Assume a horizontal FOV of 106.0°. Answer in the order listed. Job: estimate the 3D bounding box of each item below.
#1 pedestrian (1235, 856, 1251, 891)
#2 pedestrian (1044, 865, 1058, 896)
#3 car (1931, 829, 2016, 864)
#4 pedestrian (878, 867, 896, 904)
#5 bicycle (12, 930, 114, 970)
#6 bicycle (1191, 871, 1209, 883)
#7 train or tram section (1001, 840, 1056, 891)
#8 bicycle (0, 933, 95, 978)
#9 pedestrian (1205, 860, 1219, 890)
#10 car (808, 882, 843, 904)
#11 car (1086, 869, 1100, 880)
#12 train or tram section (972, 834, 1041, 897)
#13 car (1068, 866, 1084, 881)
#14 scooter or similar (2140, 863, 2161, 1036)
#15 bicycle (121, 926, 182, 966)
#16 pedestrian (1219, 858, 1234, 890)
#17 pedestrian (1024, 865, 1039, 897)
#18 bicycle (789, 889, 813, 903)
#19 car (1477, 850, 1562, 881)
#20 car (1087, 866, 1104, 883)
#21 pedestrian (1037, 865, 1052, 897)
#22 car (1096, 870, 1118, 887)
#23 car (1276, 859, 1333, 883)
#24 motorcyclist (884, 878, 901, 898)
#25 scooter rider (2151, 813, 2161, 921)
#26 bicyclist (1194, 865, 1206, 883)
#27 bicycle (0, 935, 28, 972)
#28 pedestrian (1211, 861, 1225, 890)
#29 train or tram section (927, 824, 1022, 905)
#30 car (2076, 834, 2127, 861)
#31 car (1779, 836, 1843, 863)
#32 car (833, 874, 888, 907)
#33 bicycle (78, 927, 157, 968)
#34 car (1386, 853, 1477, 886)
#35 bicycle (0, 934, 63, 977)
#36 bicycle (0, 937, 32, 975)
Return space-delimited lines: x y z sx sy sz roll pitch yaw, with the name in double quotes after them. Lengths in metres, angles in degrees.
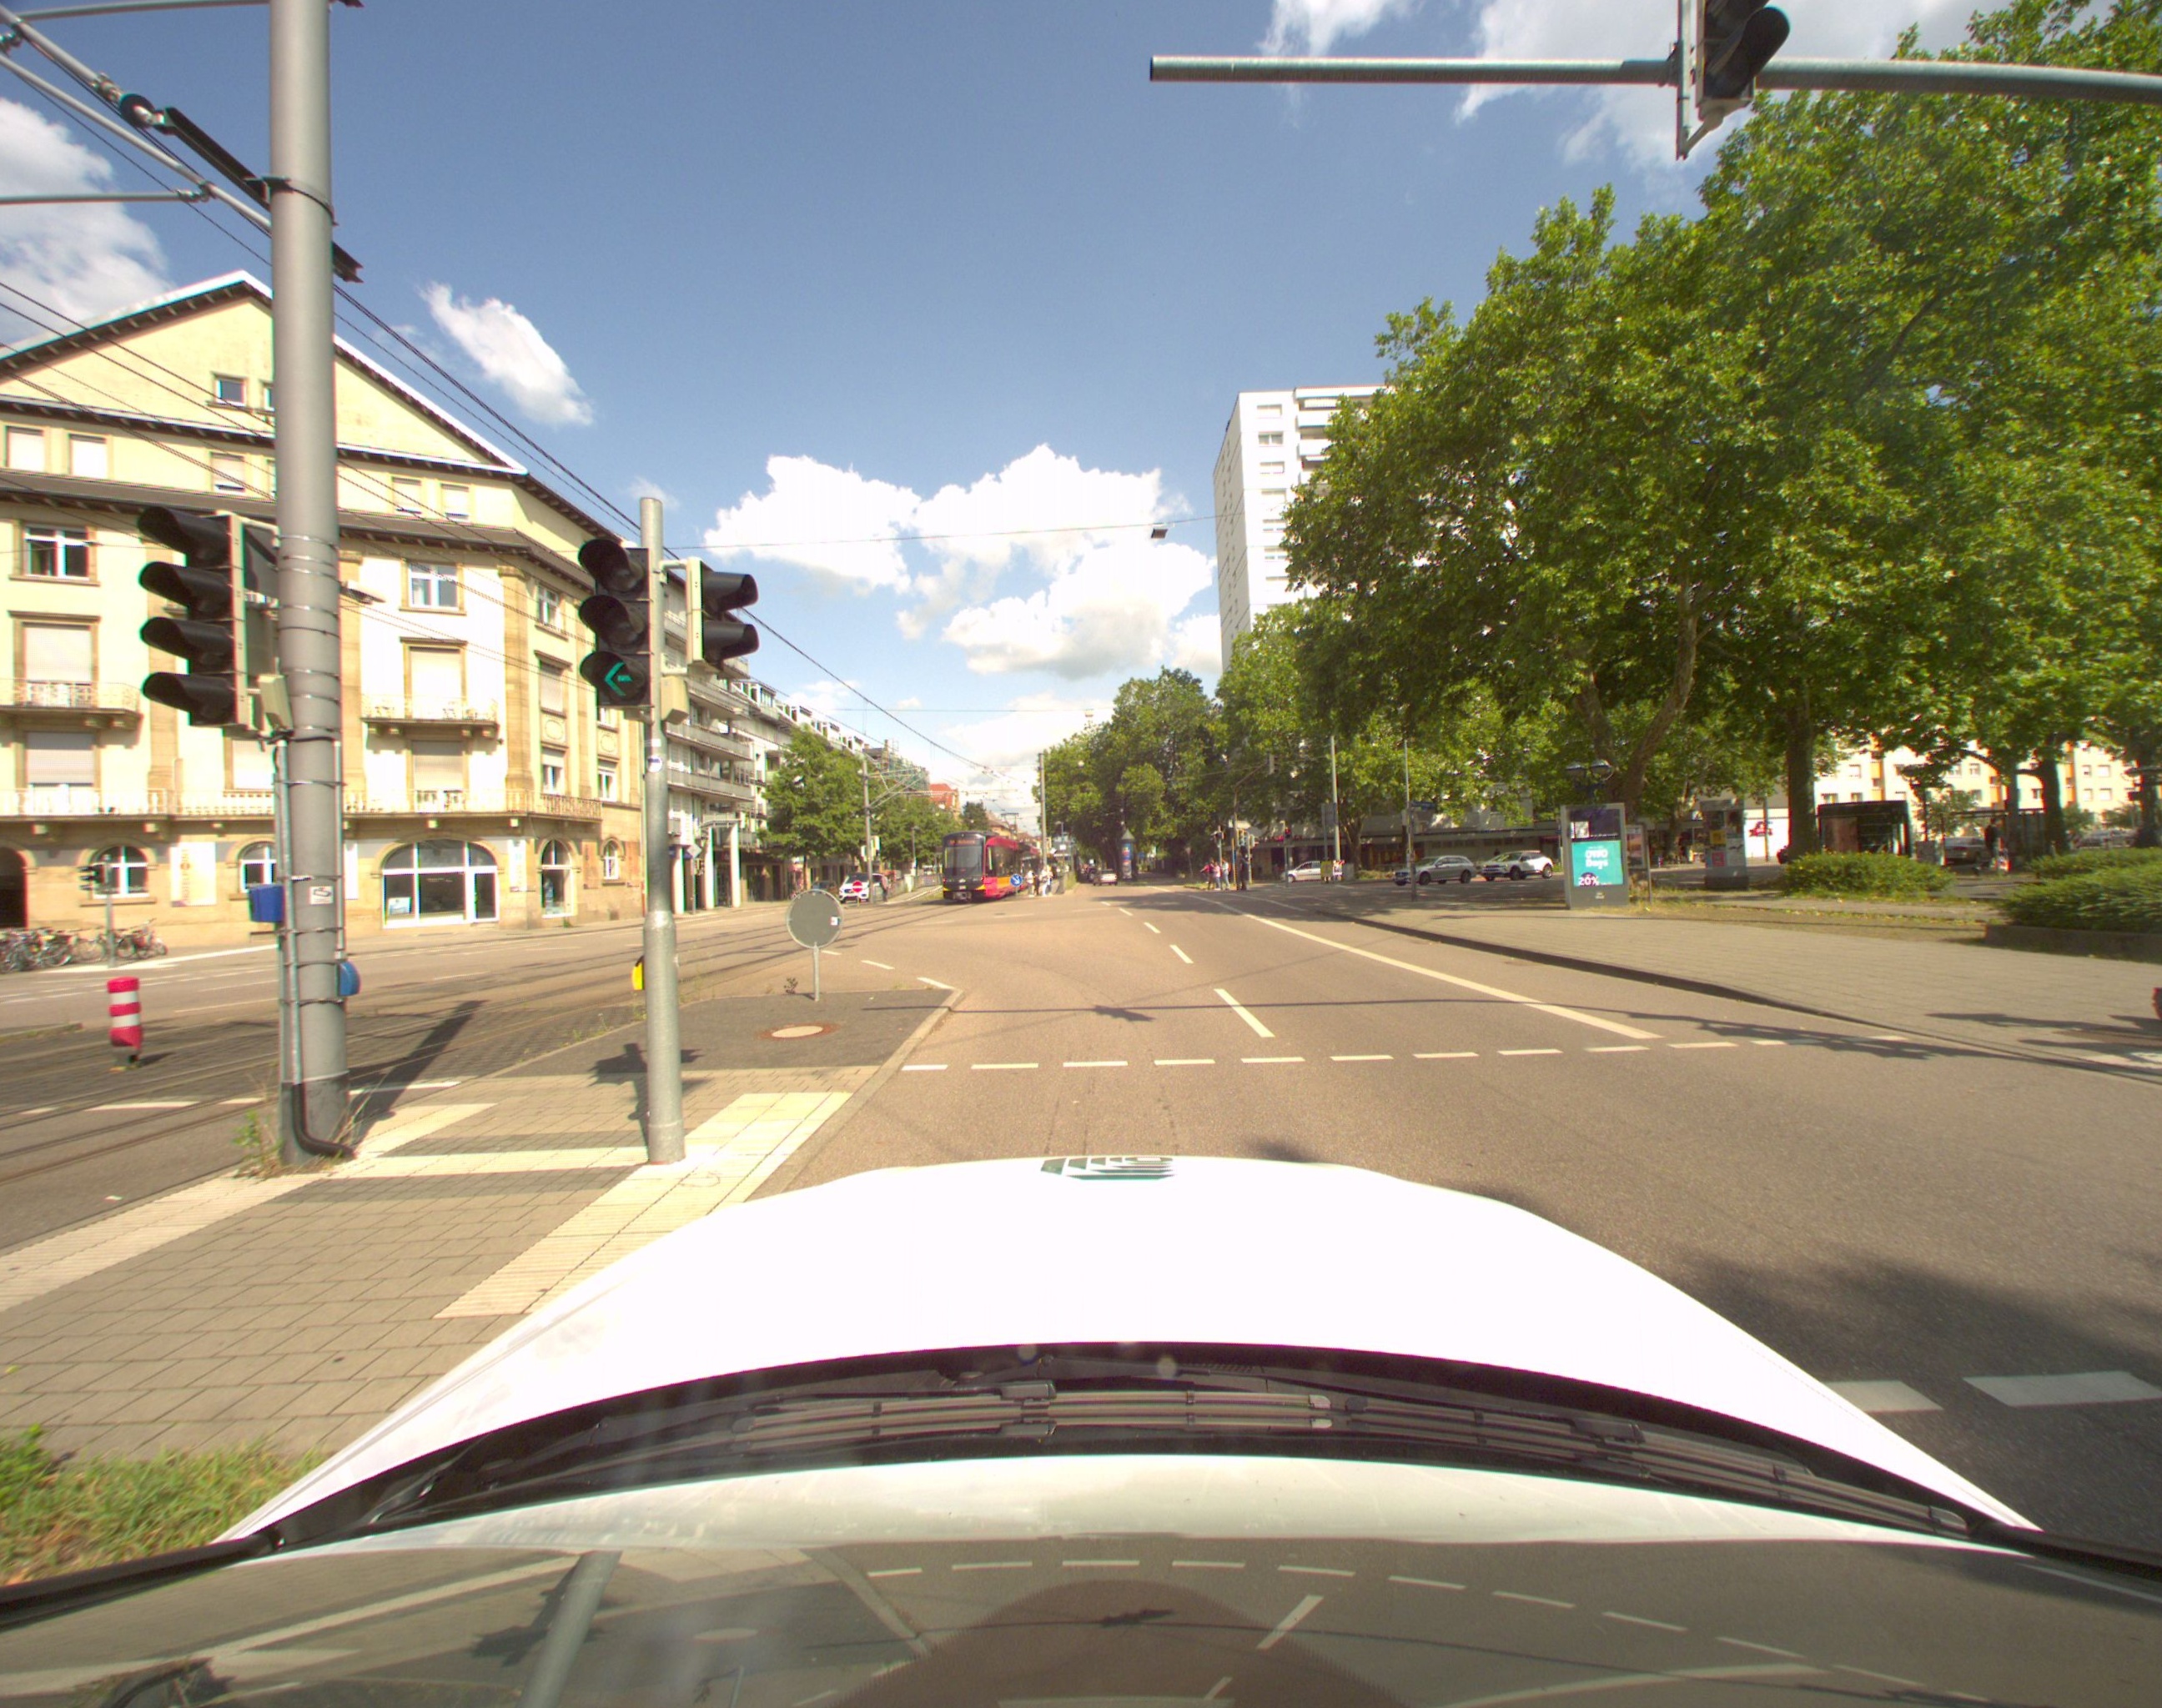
8.473 1.012 42.634 0.475 1.825 0.560 -4 -2 43 "pedestrian"
-1.736 1.501 46.577 0.666 1.703 0.648 -3 -1 3 "pedestrian"
45.530 -0.383 41.550 4.005 1.501 1.677 -3 -1 -24 "car"
-10.839 1.755 45.469 0.734 2.014 0.705 -3 -1 6 "pedestrian"
-31.508 2.965 25.240 1.930 1.018 0.536 -2 1 -22 "bicycle"
9.090 1.781 62.150 0.615 0.880 2.529 -3 -1 -8 "bicycle"
-4.024 0.909 65.600 2.794 3.561 12.166 -3 -1 3 "train or tram section"
-30.159 2.929 23.688 0.598 1.018 1.878 -2 1 2 "bicycle"
7.426 1.165 46.121 0.512 1.671 0.552 -2 -1 -21 "pedestrian"
-22.025 3.366 70.370 1.841 1.789 3.998 0 -1 0 "car"
1.414 2.519 100.609 1.481 1.315 3.996 -2 -1 -3 "car"
-4.671 0.765 53.961 2.794 3.561 11.189 -3 -1 3 "train or tram section"
-0.675 2.605 109.184 1.807 1.804 4.003 -3 -1 3 "car"
8.241 0.662 5.821 0.877 1.226 0.541 -4 -1 -22 "scooter or similar"
-29.163 2.854 25.584 0.611 1.018 1.860 -2 1 -28 "bicycle"
7.919 1.076 44.228 0.529 1.735 0.552 -2 -1 -21 "pedestrian"
-2.722 1.469 44.600 0.666 1.703 0.648 -3 -1 3 "pedestrian"
-21.626 3.229 62.890 1.685 0.986 0.497 -3 -1 -3 "bicycle"
23.811 0.618 44.242 4.078 1.490 1.847 -2 -1 -22 "car"
1.804 2.537 101.109 1.987 2.014 3.998 -1 -1 -1 "car"
-1.996 1.492 44.520 0.666 1.703 0.648 -3 -1 3 "pedestrian"
2.297 2.184 73.409 1.743 1.453 3.603 -3 -1 -1 "car"
15.444 1.187 56.159 3.630 1.484 1.744 -3 -1 19 "car"
-13.717 2.458 59.378 0.890 1.404 1.088 -3 -1 1 "motorcyclist"
8.282 0.477 5.844 0.438 1.593 0.541 -4 -1 -22 "scooter rider"
9.088 1.513 62.043 0.615 1.384 0.876 -3 -1 -9 "bicyclist"
-32.449 3.018 24.218 0.541 1.018 1.913 -2 1 -25 "bicycle"
7.666 1.185 45.564 0.512 1.597 0.552 -2 -1 -21 "pedestrian"
-5.245 0.561 42.677 2.784 3.561 11.384 -3 -1 3 "train or tram section"
74.178 -0.487 59.196 4.011 1.719 1.568 -3 -1 -29 "car"
49.715 -0.306 55.465 4.005 1.620 1.677 -2 -1 -23 "car"
-14.243 2.312 52.959 1.987 1.891 5.172 -3 -1 1 "car"
-29.904 2.883 25.312 0.609 1.018 1.867 -2 1 -15 "bicycle"
17.903 0.805 41.635 3.996 1.490 1.850 -2 -1 -17 "car"
-30.940 2.955 23.672 0.539 1.018 1.922 -2 1 -11 "bicycle"
-31.441 2.999 23.331 0.539 1.018 1.922 -2 1 -11 "bicycle"
